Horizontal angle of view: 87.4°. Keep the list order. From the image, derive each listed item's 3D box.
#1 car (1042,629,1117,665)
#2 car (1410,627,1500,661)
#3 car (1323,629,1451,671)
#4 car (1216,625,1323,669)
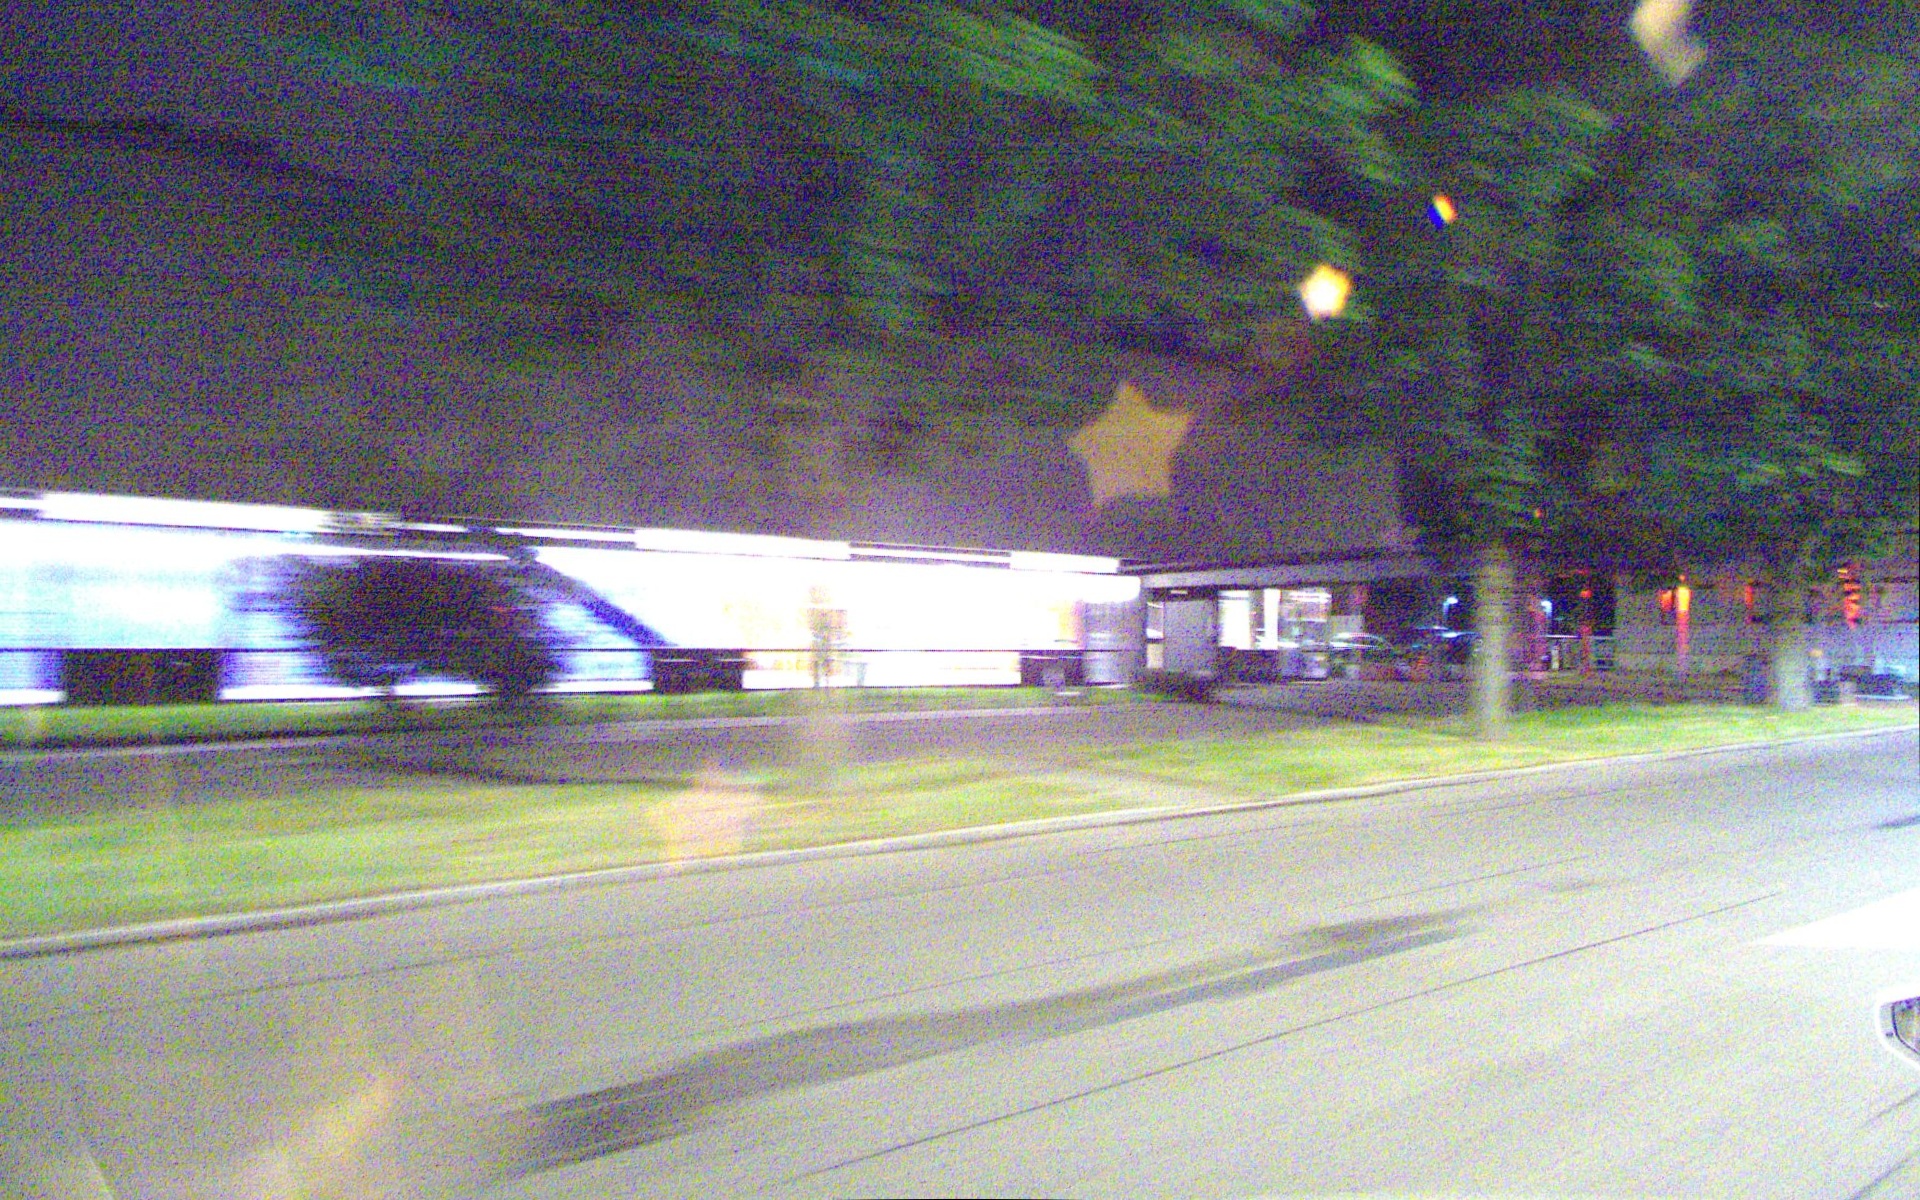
[{"bbox_3d":[8.051,3.214,68.407,2.144,2.363,5.681,2,-3,-30],"label":"car"},{"bbox_3d":[24.881,2.228,50.470,4.133,1.661,1.986,2,-3,-28],"label":"car"},{"bbox_3d":[16.484,1.917,38.970,1.812,1.410,4.355,7,-5,-29],"label":"car"},{"bbox_3d":[13.519,2.050,44.076,1.812,1.698,4.355,7,-5,-30],"label":"car"}]
